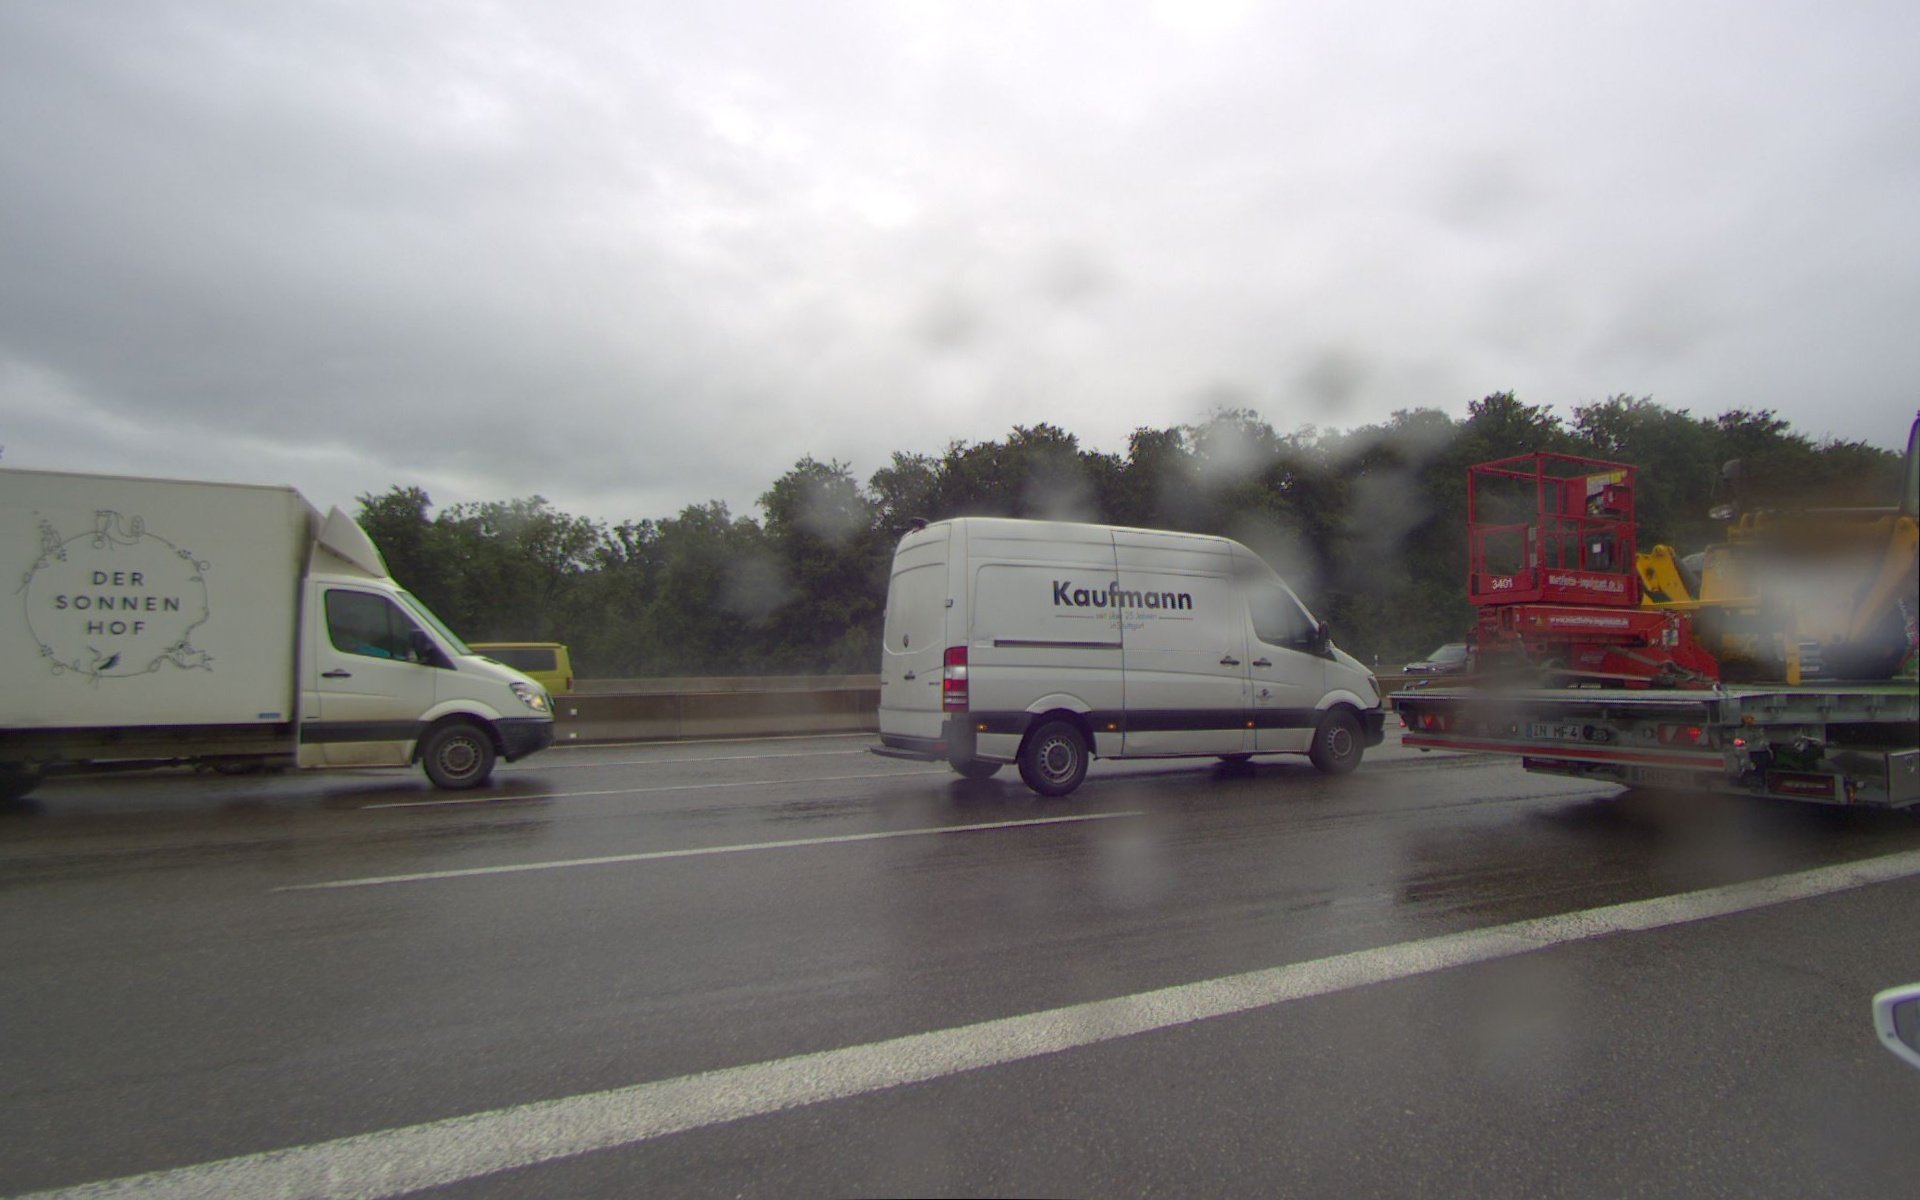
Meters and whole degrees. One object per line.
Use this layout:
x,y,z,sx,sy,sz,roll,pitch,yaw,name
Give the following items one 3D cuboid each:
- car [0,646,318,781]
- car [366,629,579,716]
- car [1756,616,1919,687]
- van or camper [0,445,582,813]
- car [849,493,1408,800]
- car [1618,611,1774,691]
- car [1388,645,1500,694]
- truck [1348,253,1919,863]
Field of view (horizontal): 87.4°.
-10.714,1.355,12.481,4.353,1.542,1.611,2,-3,-24,car
-12.267,1.793,25.554,4.673,2.040,1.988,1,-2,-25,car
21.971,1.246,24.646,4.745,1.614,1.987,1,-3,-27,car
-7.842,0.345,10.558,7.034,3.245,2.573,2,-3,-25,van or camper
1.885,0.521,10.939,5.763,2.663,2.210,2,-3,-25,car
20.570,1.413,28.057,3.946,2.040,1.792,3,-1,-25,car
19.329,2.756,40.116,3.945,1.870,1.951,1,-3,-25,car
9.170,-0.068,9.784,11.640,3.635,2.823,1,-4,-26,truck
